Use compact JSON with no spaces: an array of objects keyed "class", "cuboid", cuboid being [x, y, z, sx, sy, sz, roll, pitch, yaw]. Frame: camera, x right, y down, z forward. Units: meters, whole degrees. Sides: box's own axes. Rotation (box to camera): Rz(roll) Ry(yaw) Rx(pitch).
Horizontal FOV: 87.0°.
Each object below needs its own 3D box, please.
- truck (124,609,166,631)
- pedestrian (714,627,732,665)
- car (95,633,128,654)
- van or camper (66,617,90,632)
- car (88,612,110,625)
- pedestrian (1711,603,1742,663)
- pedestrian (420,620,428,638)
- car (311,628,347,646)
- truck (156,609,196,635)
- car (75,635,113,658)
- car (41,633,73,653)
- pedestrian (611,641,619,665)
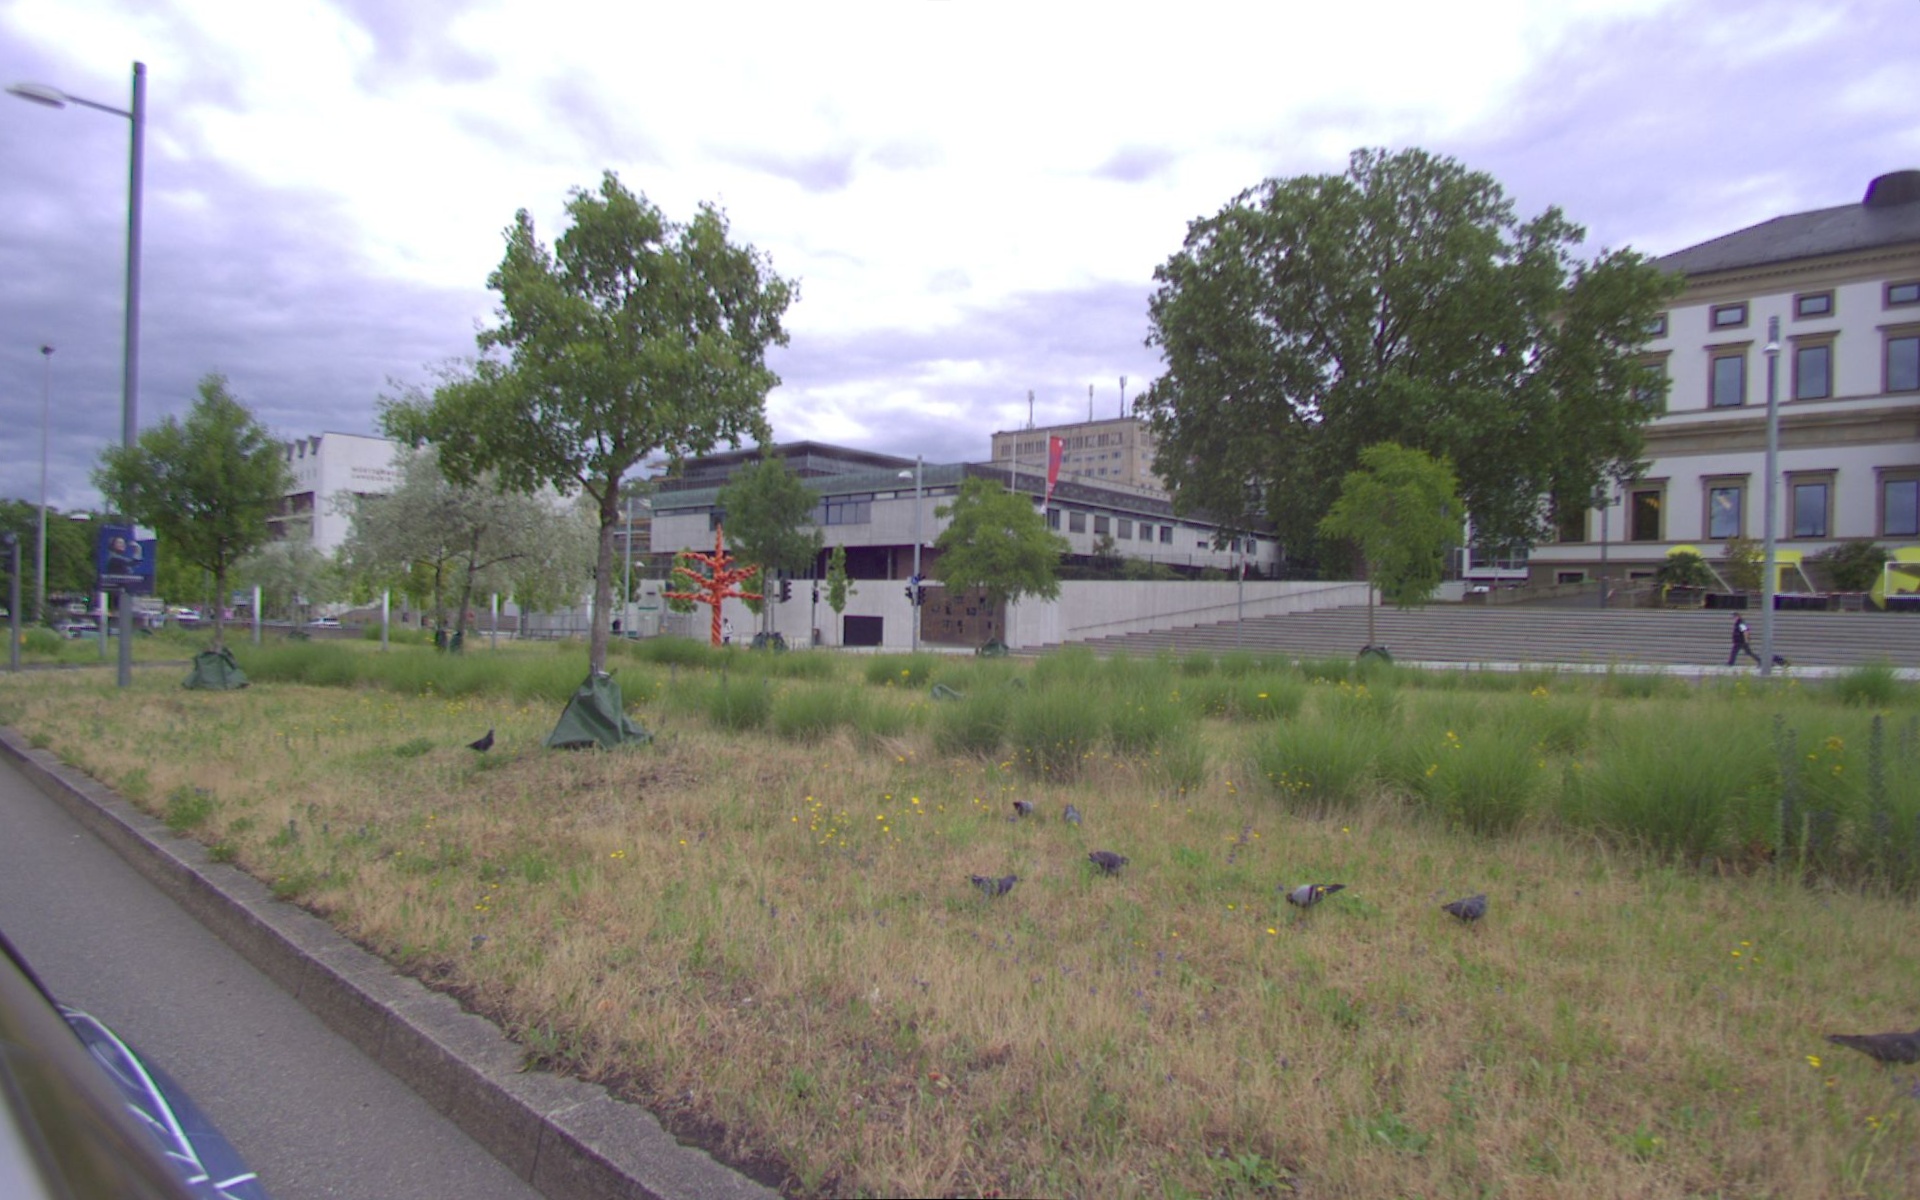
[{"class":"truck","cuboid":[-108.880,2.717,135.174,7.250,2.809,3.197,-2,-2,42]},{"class":"pedestrian","cuboid":[-10.872,2.102,46.409,0.663,1.747,0.534,-2,-1,41]},{"class":"car","cuboid":[-87.606,4.505,104.456,3.999,2.029,1.972,-2,-5,42]},{"class":"van or camper","cuboid":[-126.545,3.482,145.176,4.555,2.029,1.972,-2,-2,42]},{"class":"car","cuboid":[-113.546,2.404,133.446,4.270,1.586,1.700,-2,-2,43]},{"class":"pedestrian","cuboid":[21.556,0.921,28.448,0.650,1.661,0.518,-1,0,40]},{"class":"pedestrian","cuboid":[-46.564,2.498,87.953,0.461,1.533,0.424,-1,0,35]},{"class":"car","cuboid":[-58.086,3.408,93.177,4.612,1.586,1.700,-2,-2,43]},{"class":"truck","cuboid":[-87.822,2.463,113.347,7.078,2.838,2.437,-2,-2,43]},{"class":"car","cuboid":[-79.066,4.221,92.363,3.999,2.029,1.972,-2,-5,42]},{"class":"car","cuboid":[-97.800,4.618,109.555,4.331,2.029,1.972,-2,-5,42]},{"class":"pedestrian","cuboid":[-22.711,3.494,66.630,0.316,1.533,0.314,-1,0,35]}]
